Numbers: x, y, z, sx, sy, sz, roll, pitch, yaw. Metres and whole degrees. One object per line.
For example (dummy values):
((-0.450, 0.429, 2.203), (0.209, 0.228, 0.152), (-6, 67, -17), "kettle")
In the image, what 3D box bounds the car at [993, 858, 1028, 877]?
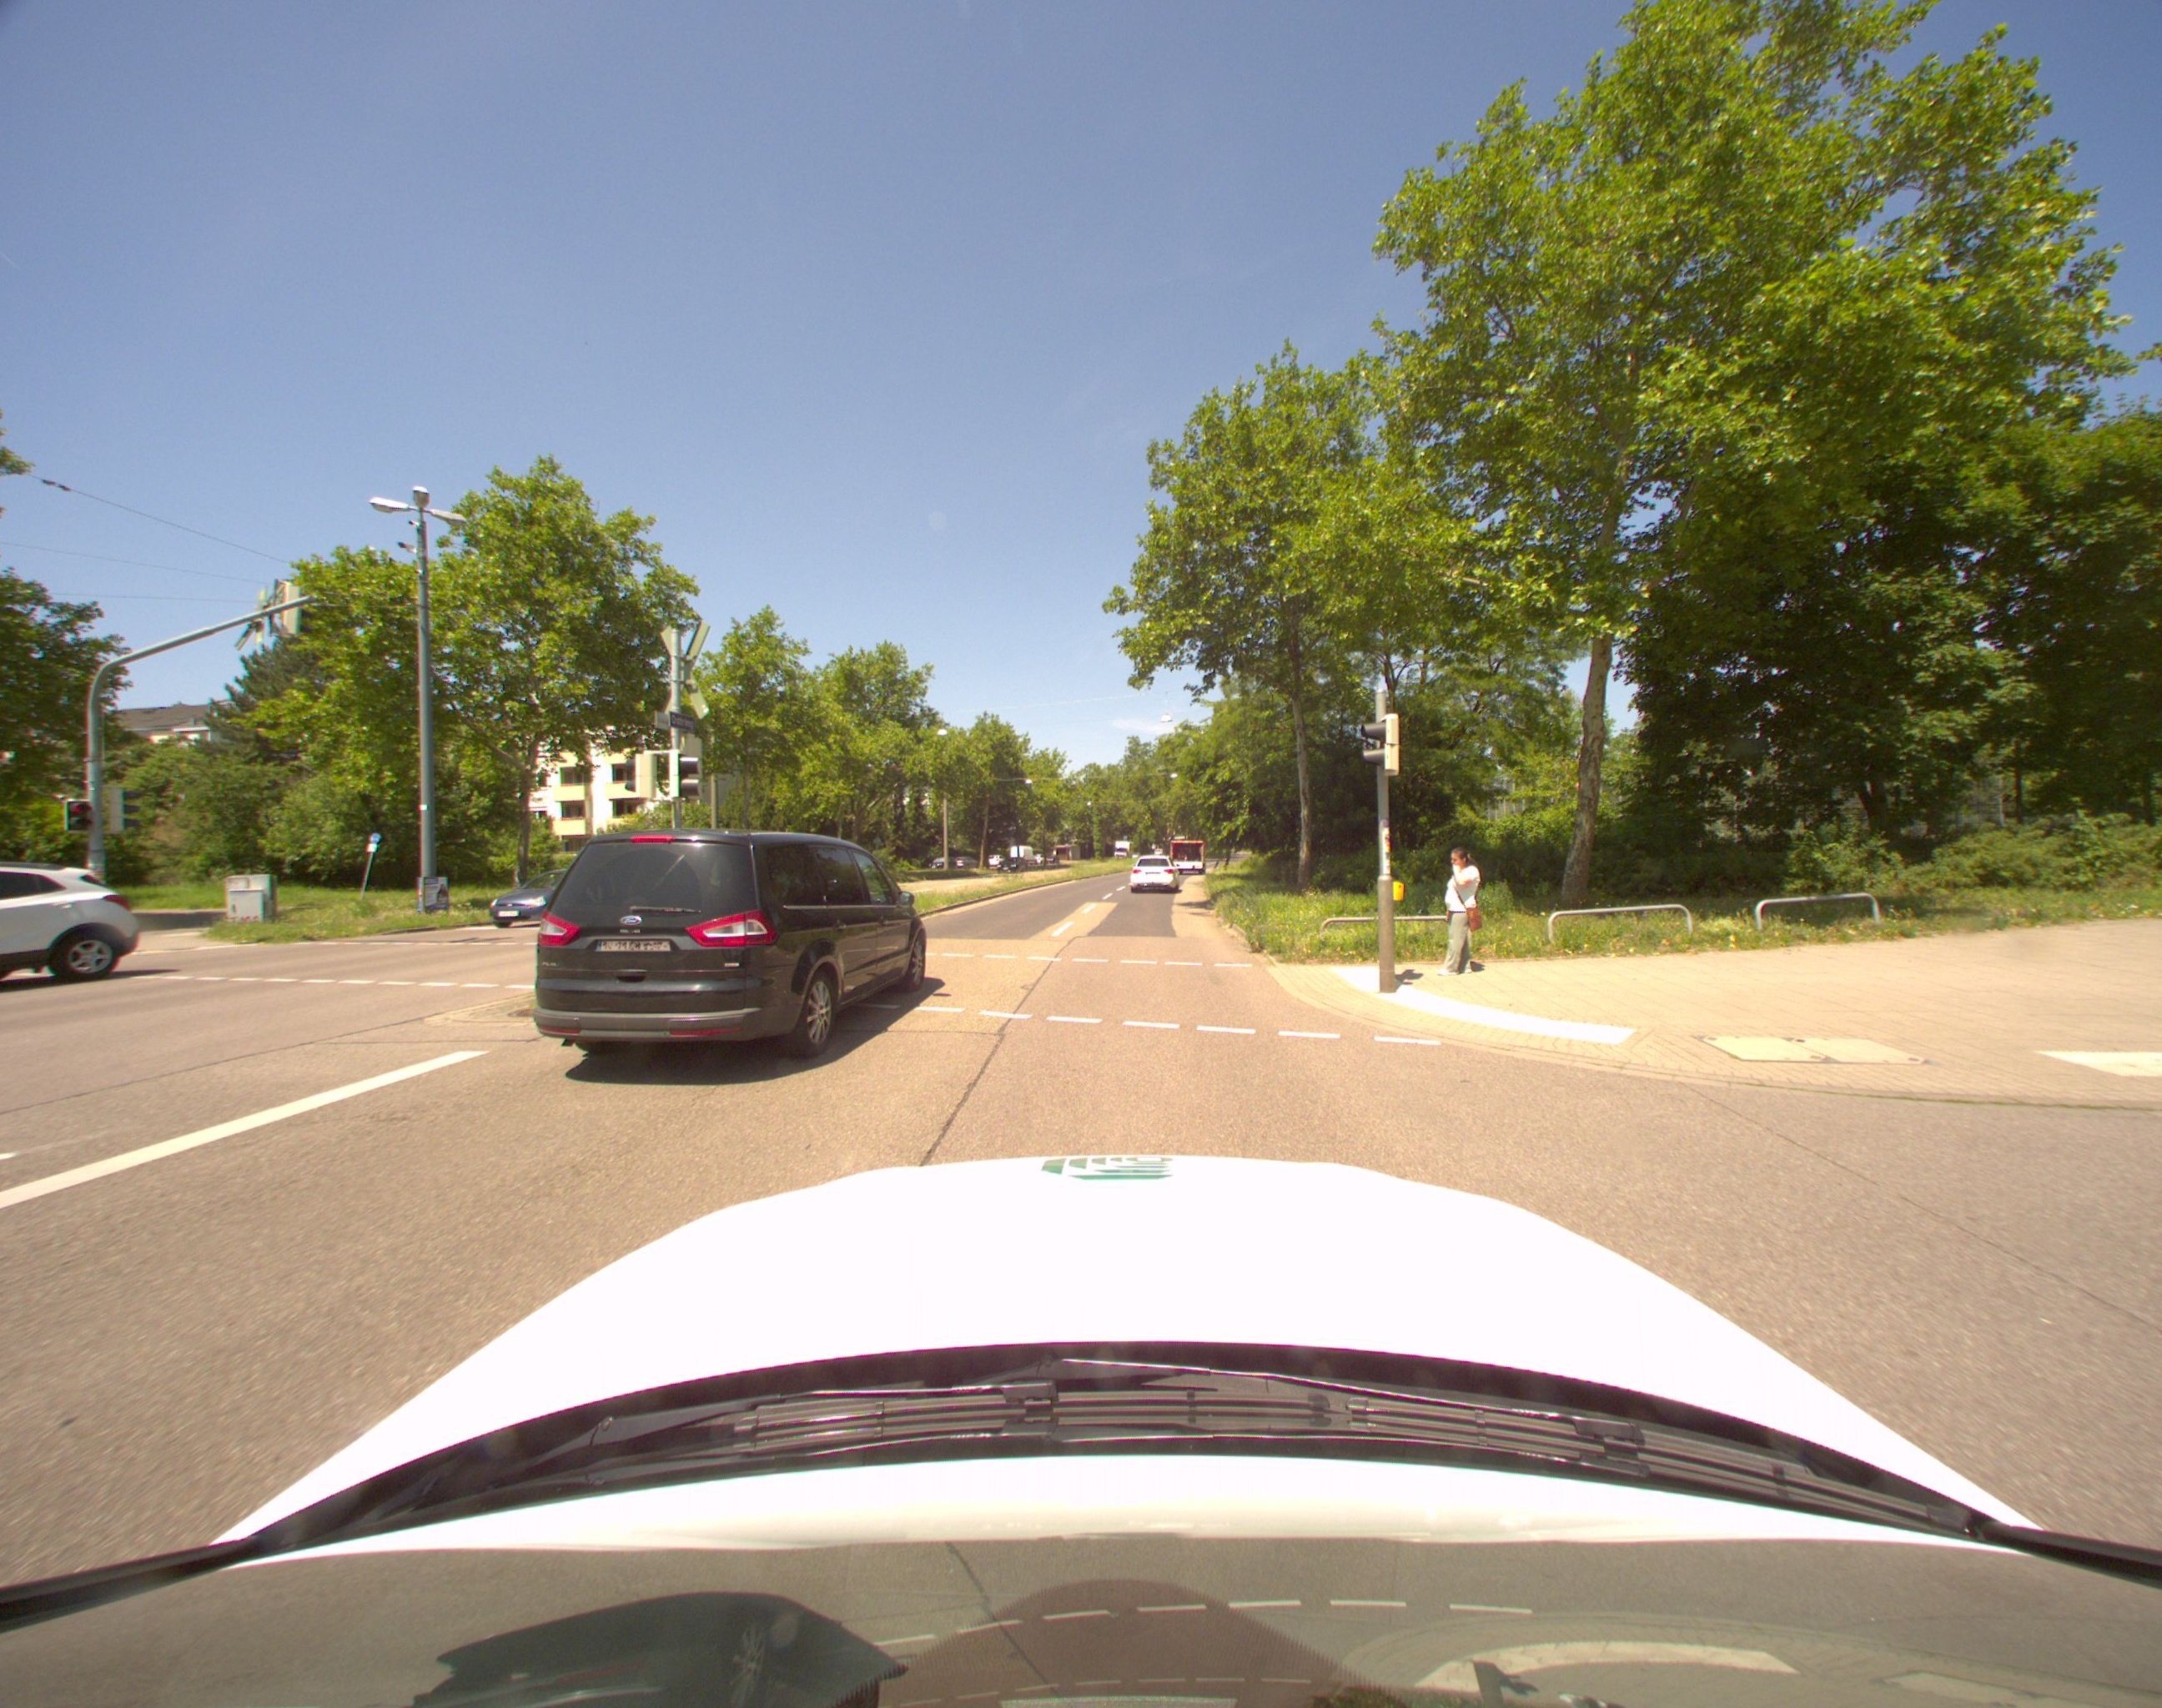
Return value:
((-6.024, 1.111, 70.361), (1.801, 1.506, 4.607), (-1, 0, 11), "car")

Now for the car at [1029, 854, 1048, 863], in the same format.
((-6.218, 0.658, 119.369), (1.681, 1.284, 3.817), (-1, 0, 14), "car")

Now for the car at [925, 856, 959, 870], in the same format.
((-15.117, 0.960, 88.742), (1.865, 1.393, 4.021), (-1, 0, 21), "car")

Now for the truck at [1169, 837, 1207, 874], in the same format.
((8.039, 0.035, 60.422), (2.496, 2.559, 7.624), (1, 1, 9), "truck")

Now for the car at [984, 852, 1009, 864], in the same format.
((-10.755, 0.528, 103.788), (1.868, 1.474, 4.016), (-1, 0, 14), "car")

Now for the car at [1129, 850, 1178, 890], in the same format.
((2.885, 0.593, 31.803), (1.753, 1.445, 3.623), (1, 0, 7), "car")

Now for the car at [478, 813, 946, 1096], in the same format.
((-2.714, 0.603, 7.423), (1.845, 1.755, 4.655), (0, 0, 5), "car")

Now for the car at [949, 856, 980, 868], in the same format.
((-13.466, 0.898, 94.235), (1.866, 1.376, 4.019), (-1, 0, 18), "car")

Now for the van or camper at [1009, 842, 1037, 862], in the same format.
((-7.995, -0.322, 113.065), (2.166, 2.587, 5.331), (-1, 0, 15), "van or camper")

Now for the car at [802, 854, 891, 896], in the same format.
((-8.646, 0.730, 30.378), (1.728, 1.395, 4.184), (-3, 0, 5), "car")

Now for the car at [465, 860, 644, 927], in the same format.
((-13.358, 0.936, 20.955), (1.710, 1.455, 3.878), (0, 1, 8), "car")

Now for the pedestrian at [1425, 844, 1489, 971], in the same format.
((4.524, 0.623, 9.834), (0.549, 1.484, 0.631), (-1, 0, 11), "pedestrian")

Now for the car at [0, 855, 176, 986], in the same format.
((-14.464, 0.860, 9.894), (1.779, 1.614, 4.410), (-1, 1, 5), "car")

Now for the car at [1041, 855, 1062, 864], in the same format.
((-4.509, 0.827, 125.110), (1.814, 1.390, 3.965), (-1, 0, 18), "car")

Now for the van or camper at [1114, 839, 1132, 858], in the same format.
((7.860, -1.032, 152.007), (2.645, 3.331, 5.515), (-1, 0, 9), "van or camper")

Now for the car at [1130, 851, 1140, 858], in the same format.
((11.009, 0.061, 166.450), (1.905, 1.210, 4.341), (-2, 0, 5), "car")
